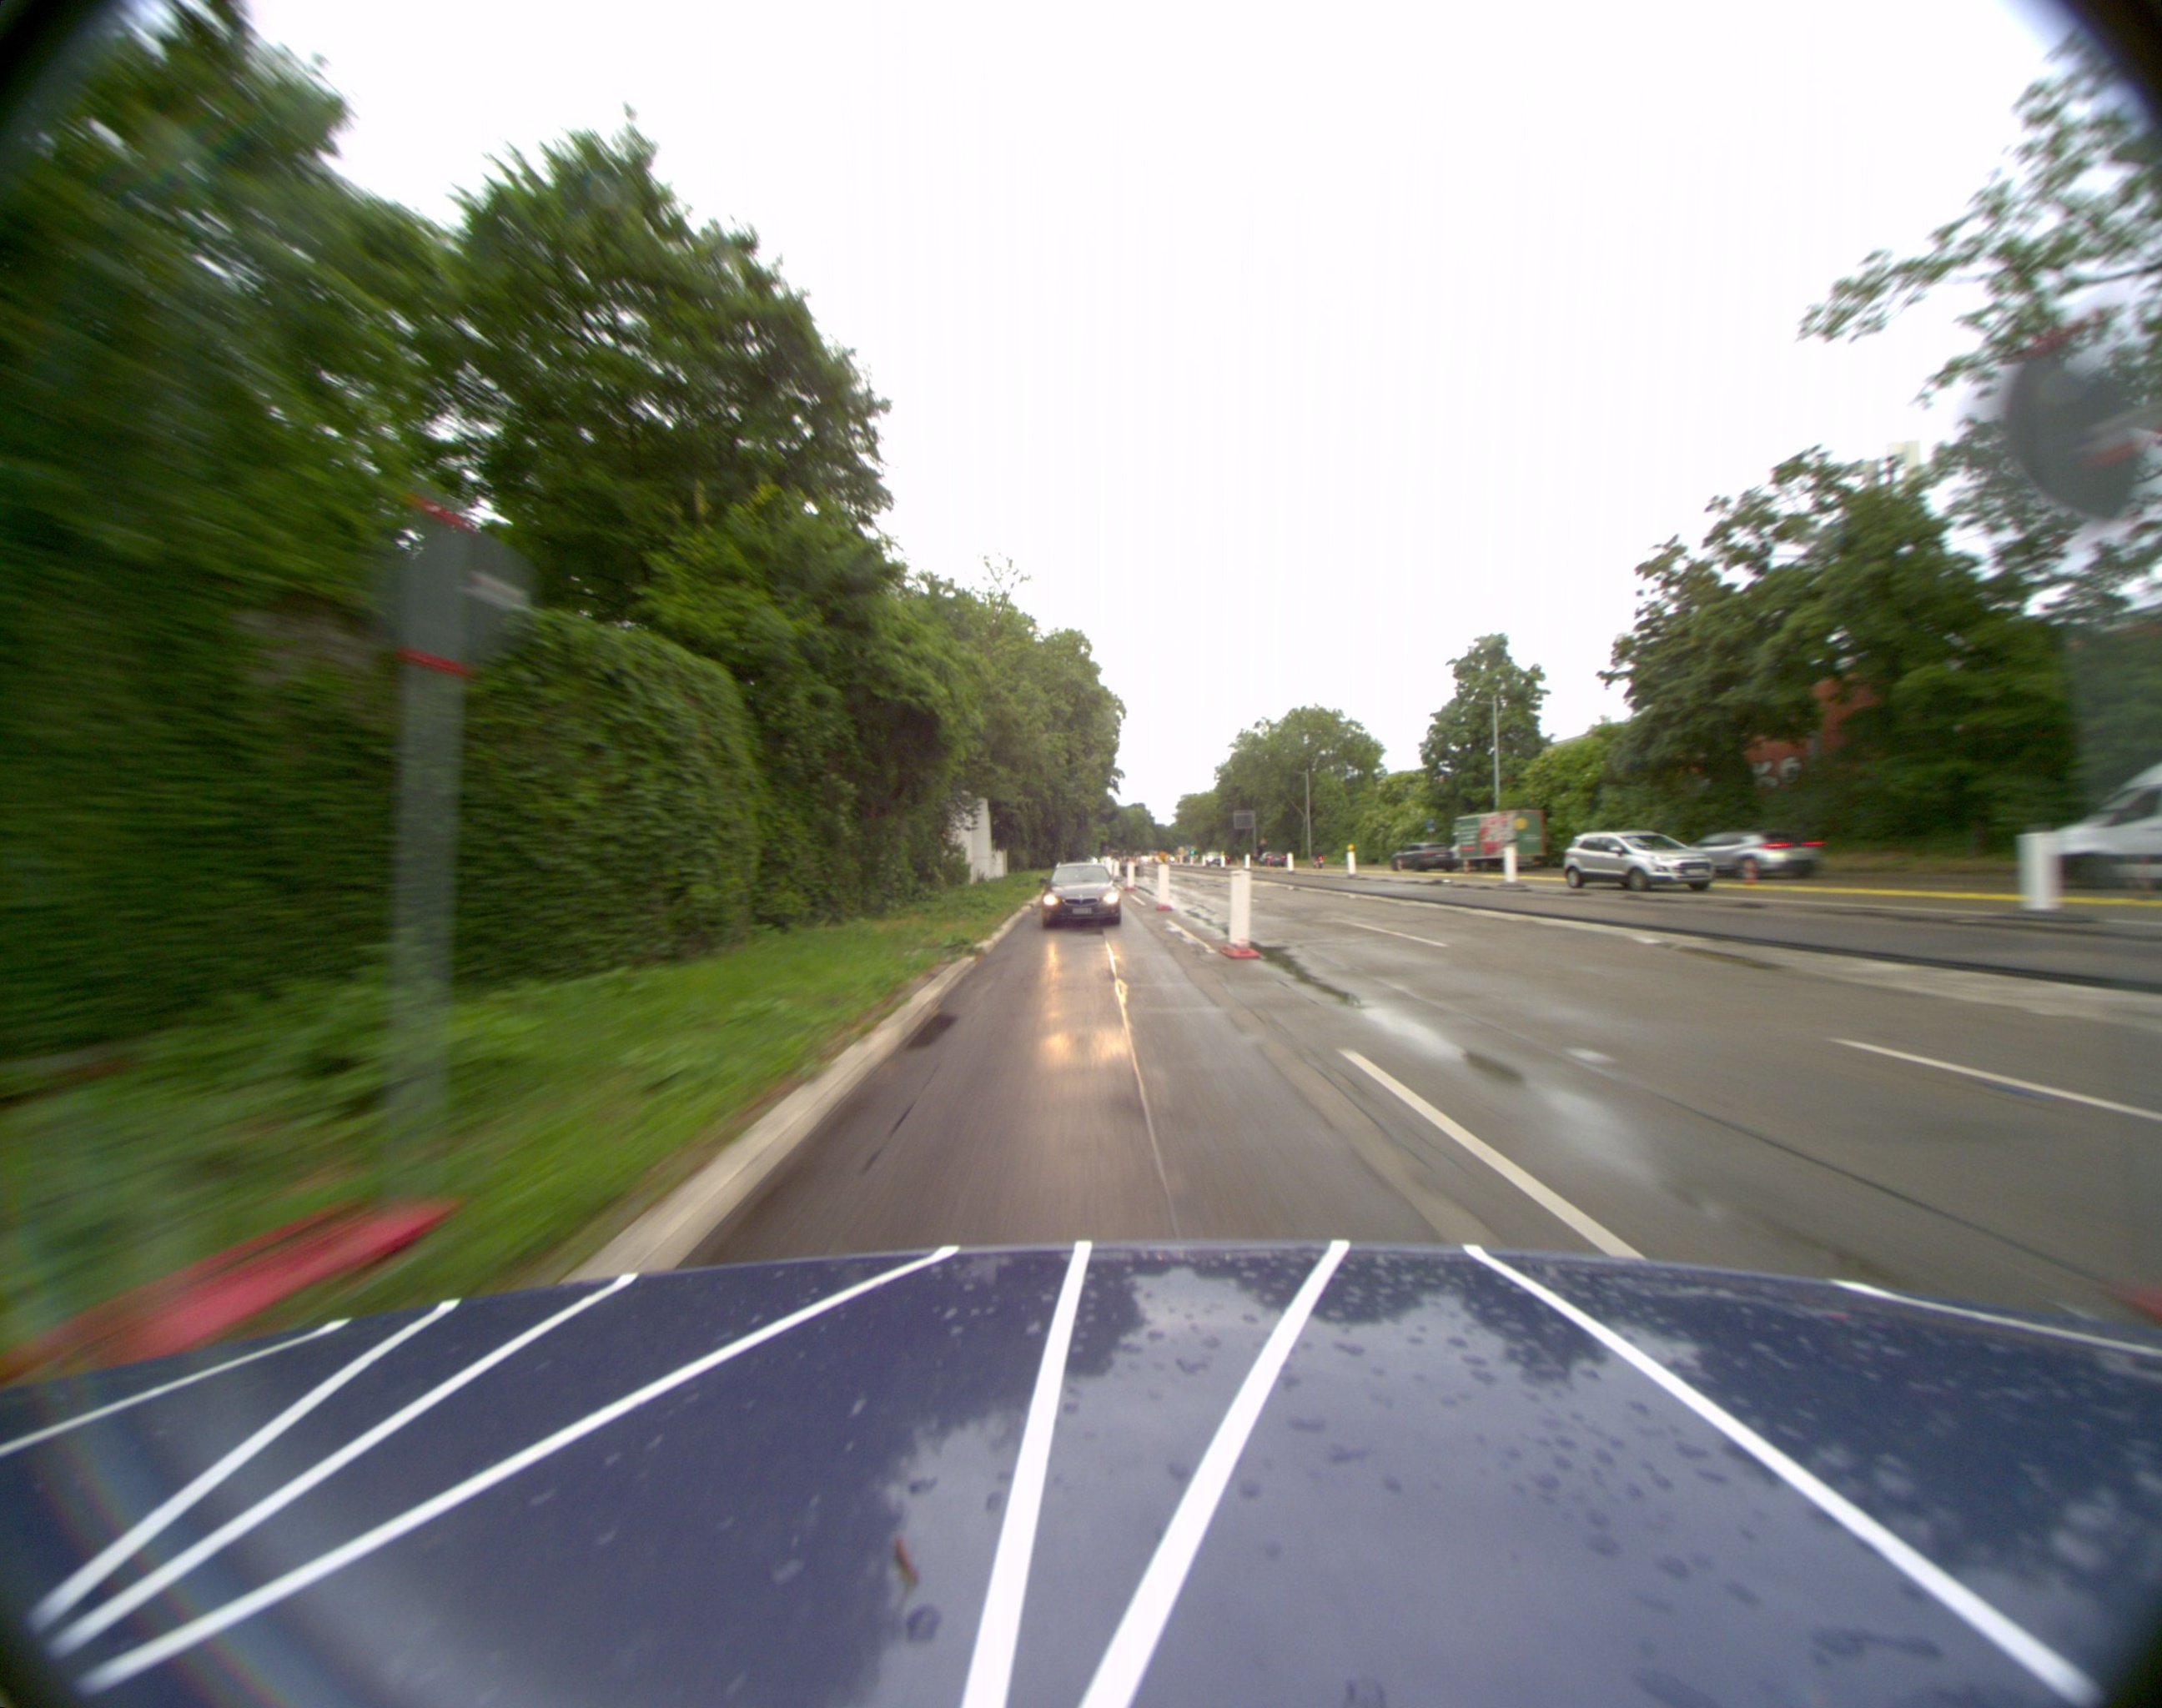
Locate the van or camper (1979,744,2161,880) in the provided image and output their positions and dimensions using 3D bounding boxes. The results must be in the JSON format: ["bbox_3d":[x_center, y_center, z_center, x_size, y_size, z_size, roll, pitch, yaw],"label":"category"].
[{"bbox_3d":[21.119,-0.836,13.156,1.998,2.540,7.729,-4,0,1],"label":"van or camper"}]

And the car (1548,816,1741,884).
[{"bbox_3d":[15.216,-0.090,20.872,1.893,1.555,4.363,-4,0,-2],"label":"car"}]

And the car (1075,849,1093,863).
[{"bbox_3d":[0.369,0.258,96.018,1.998,1.707,4.000,-2,1,3],"label":"car"}]

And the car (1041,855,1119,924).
[{"bbox_3d":[-0.005,0.769,18.348,1.658,1.409,4.129,-1,0,0],"label":"car"}]

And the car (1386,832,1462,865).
[{"bbox_3d":[18.725,-0.293,41.722,1.998,1.684,4.807,-2,0,0],"label":"car"}]

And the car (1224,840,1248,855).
[{"bbox_3d":[17.927,-0.717,88.178,1.998,1.619,4.813,-3,0,4],"label":"car"}]

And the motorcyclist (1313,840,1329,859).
[{"bbox_3d":[18.191,-0.347,57.666,0.816,1.402,0.975,-4,1,0],"label":"motorcyclist"}]

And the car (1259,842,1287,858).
[{"bbox_3d":[18.636,-0.414,74.003,1.691,1.434,4.107,-3,0,0],"label":"car"}]

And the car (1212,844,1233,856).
[{"bbox_3d":[19.406,-0.502,104.387,1.893,1.543,4.398,-3,0,0],"label":"car"}]

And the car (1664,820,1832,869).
[{"bbox_3d":[20.911,-0.280,24.076,1.720,1.357,4.081,-2,0,0],"label":"car"}]

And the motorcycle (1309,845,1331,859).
[{"bbox_3d":[18.206,-0.137,58.007,0.810,0.983,2.593,-4,0,0],"label":"motorcycle"}]

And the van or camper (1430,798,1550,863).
[{"bbox_3d":[21.497,-1.139,40.455,2.303,3.045,7.451,-3,0,0],"label":"van or camper"}]
